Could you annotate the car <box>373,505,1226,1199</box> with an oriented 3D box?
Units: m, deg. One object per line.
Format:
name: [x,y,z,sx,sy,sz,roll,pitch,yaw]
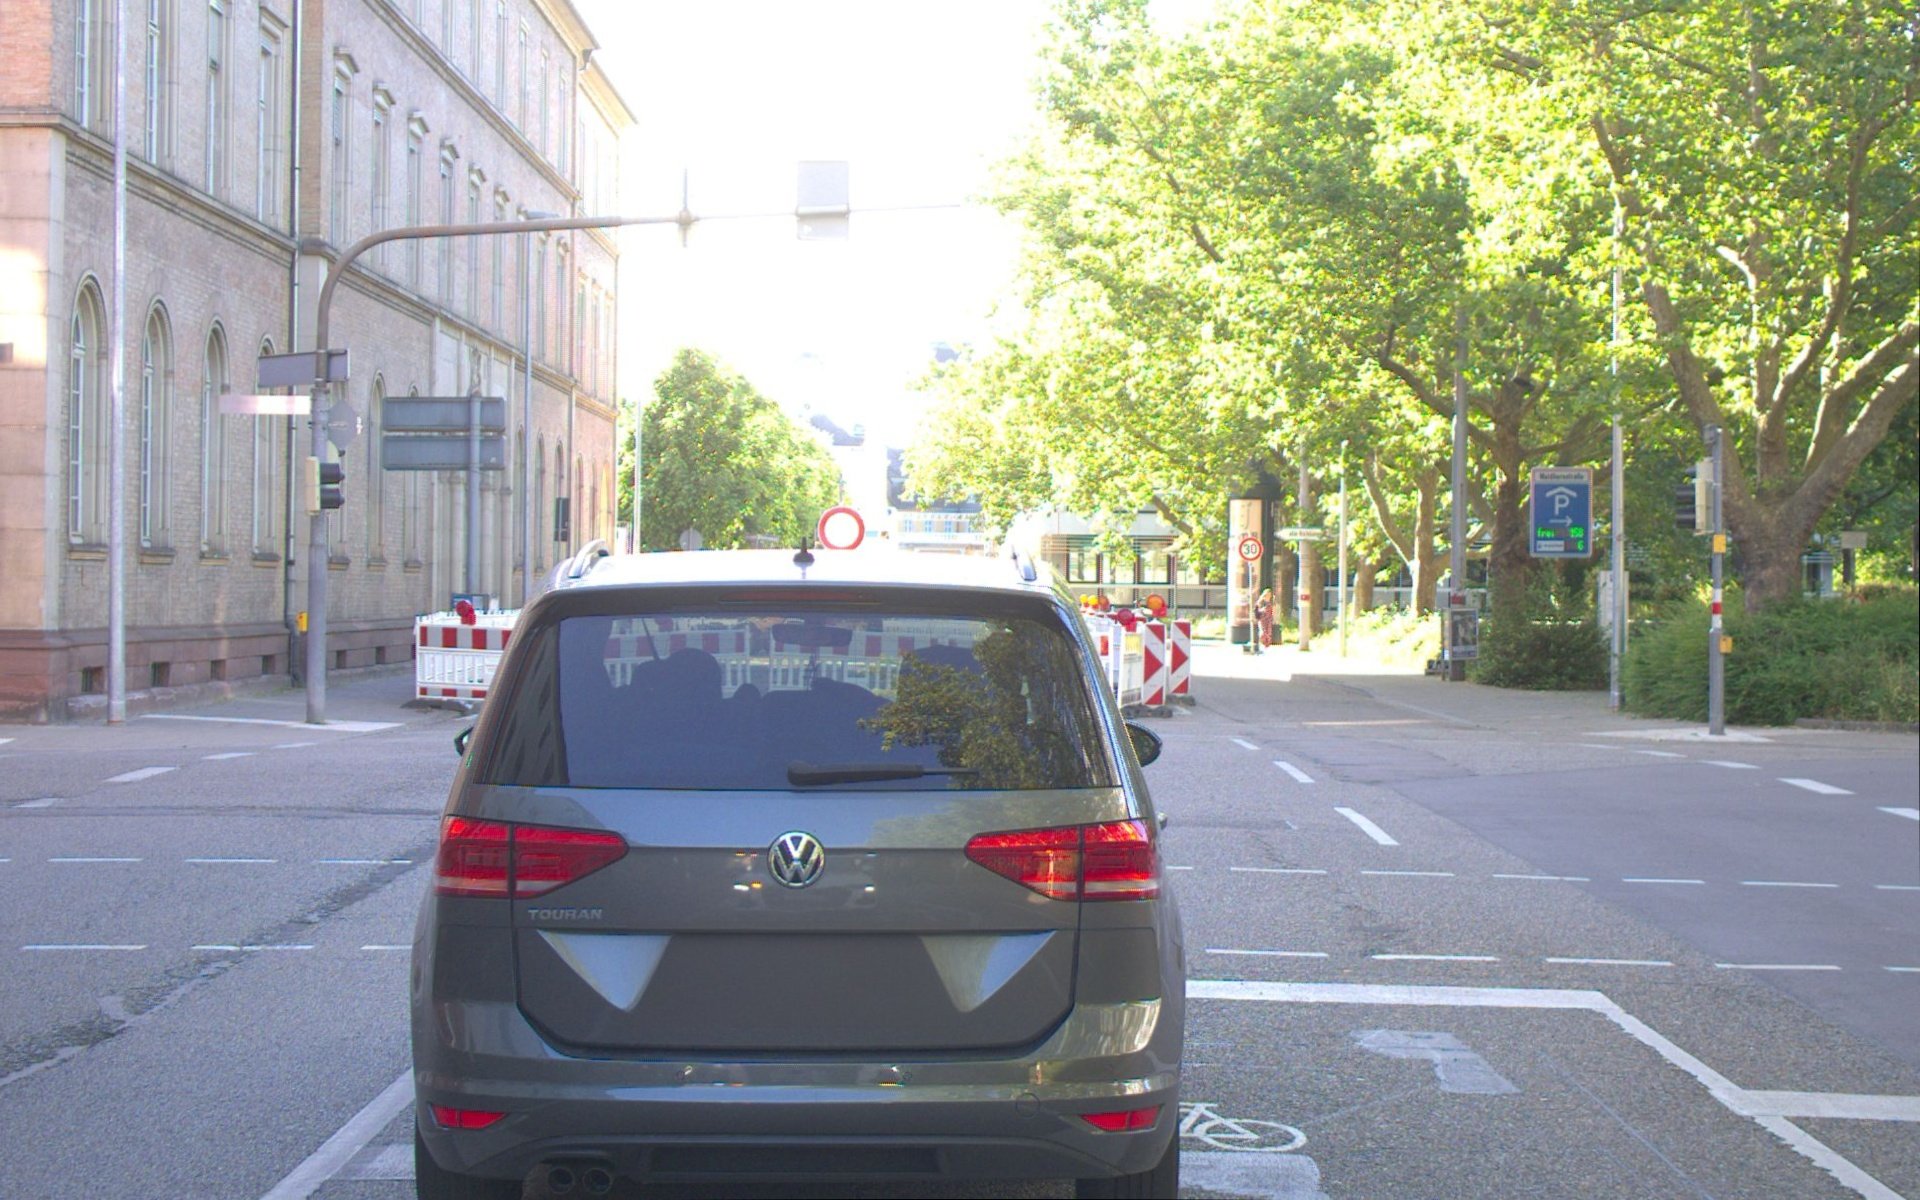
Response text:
car: [-0.439,0.600,9.184,1.762,1.601,4.000,1,0,-3]

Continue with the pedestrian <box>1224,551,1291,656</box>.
pedestrian: [7.610,0.094,87.951,1.419,2.658,1.148,1,0,-9]

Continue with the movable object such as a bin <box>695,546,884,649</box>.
movable object such as a bin: [-4.725,-0.084,94.723,4.838,2.767,2.467,1,0,42]
